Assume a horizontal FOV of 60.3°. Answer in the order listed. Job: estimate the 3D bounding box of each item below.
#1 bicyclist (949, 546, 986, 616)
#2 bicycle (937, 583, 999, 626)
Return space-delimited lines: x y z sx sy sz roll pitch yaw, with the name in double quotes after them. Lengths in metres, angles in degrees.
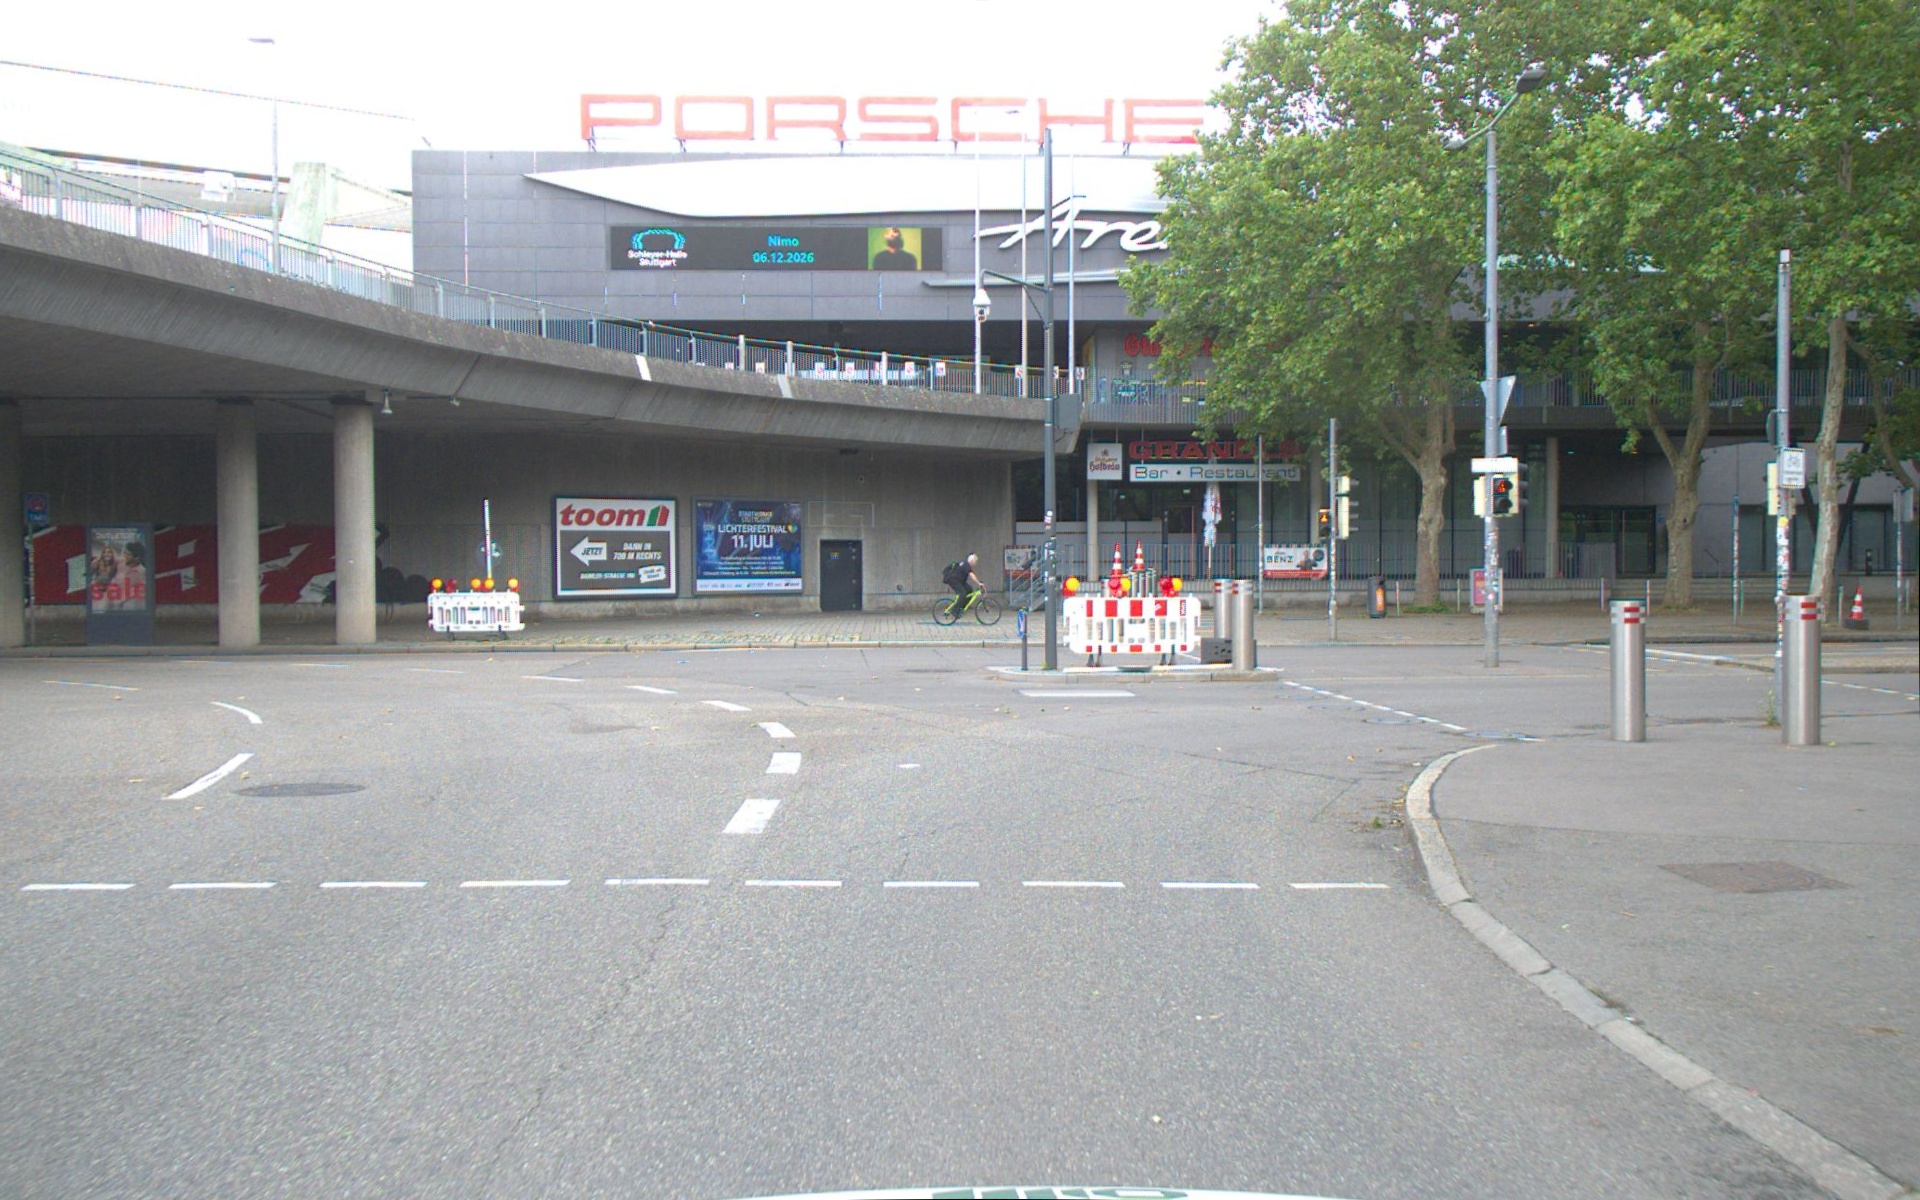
0.195 -0.467 41.424 0.835 1.727 0.766 1 0 -5 "bicyclist"
0.188 0.112 41.422 1.503 1.031 0.516 1 0 -5 "bicycle"
